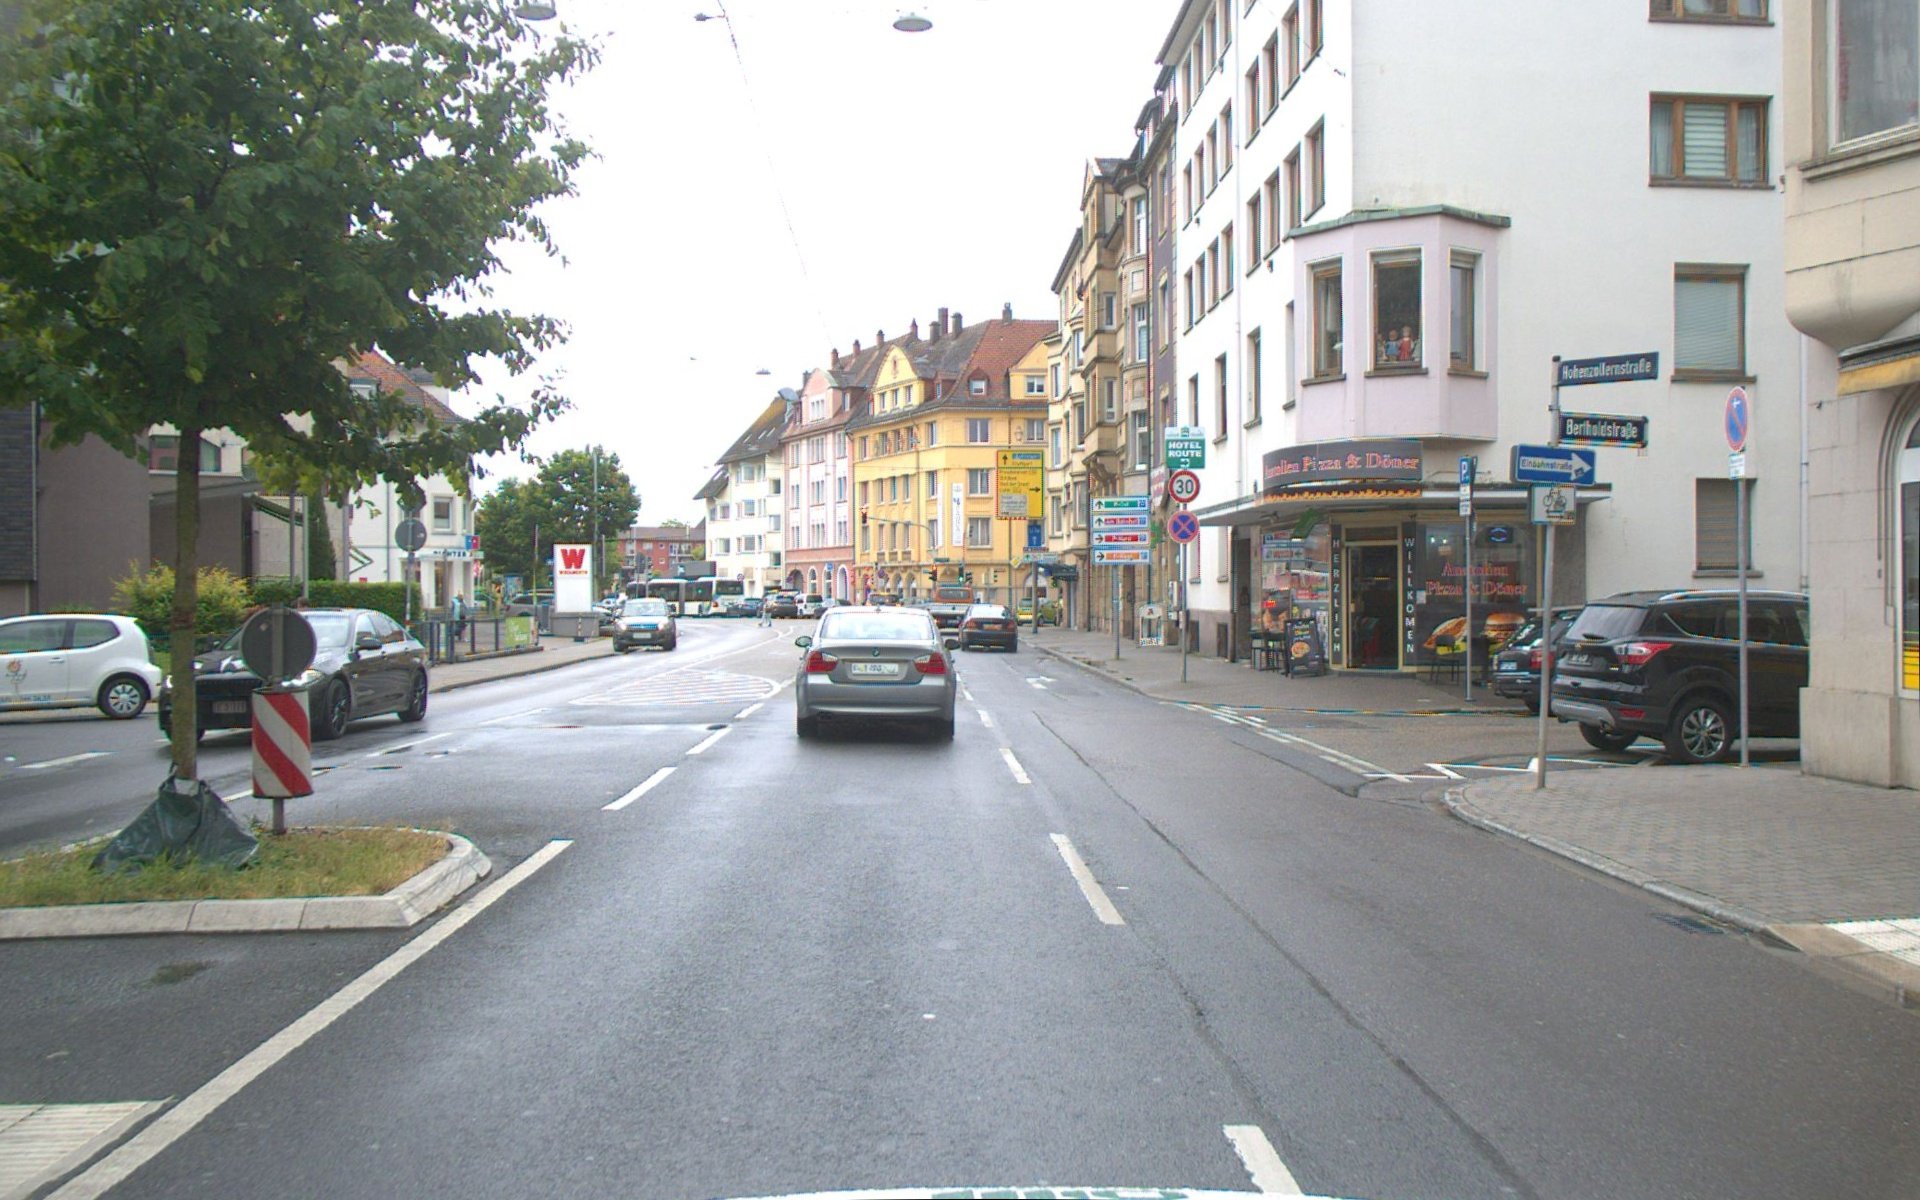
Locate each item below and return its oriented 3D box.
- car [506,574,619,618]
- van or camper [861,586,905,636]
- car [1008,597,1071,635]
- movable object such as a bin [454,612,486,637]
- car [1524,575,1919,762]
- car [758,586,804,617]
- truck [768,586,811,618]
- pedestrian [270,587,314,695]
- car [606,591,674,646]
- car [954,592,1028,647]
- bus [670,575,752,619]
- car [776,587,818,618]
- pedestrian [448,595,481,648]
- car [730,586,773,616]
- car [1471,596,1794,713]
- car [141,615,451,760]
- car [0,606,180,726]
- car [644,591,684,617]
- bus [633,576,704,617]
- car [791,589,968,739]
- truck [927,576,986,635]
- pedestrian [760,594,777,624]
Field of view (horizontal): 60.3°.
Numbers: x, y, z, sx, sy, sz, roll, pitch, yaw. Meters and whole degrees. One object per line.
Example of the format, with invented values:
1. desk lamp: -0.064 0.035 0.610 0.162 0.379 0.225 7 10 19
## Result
1. car: -16.822 -0.168 70.145 4.361 1.553 1.883 4 0 -7
2. van or camper: -3.495 0.489 74.714 1.818 2.184 4.138 1 0 -5
3. car: 4.397 0.864 90.937 1.955 2.049 3.995 1 0 27
4. movable object such as a bin: -16.340 0.825 55.138 0.741 0.802 0.728 1 0 43
5. car: 8.211 0.675 17.174 4.060 1.803 1.870 0 0 -8
6. car: -11.896 0.104 109.651 1.966 2.049 3.972 0 0 -23
7. truck: -13.361 0.136 129.241 2.002 2.431 4.200 1 0 -27
8. pedestrian: -11.179 0.675 27.698 0.563 1.793 0.580 0 0 -8
9. car: -10.301 0.575 53.039 1.916 1.688 4.041 0 0 -15
10. car: 0.901 0.593 50.135 1.765 1.590 3.994 0 -1 -6
11. bus: -18.762 -0.216 124.053 2.879 3.159 9.048 -1 0 -31
12. car: -12.160 0.174 123.311 1.741 2.218 3.965 3 -1 -27
13. pedestrian: -16.323 0.706 54.485 0.741 1.715 0.743 0 0 43
14. car: -14.566 0.092 115.278 1.967 2.049 3.971 0 0 -23
15. car: 9.805 0.788 24.267 4.030 1.636 1.802 0 -2 -8
16. car: -7.683 0.939 19.667 1.973 1.450 4.498 1 0 -2
17. car: -13.021 0.890 23.170 3.548 1.597 1.720 1 0 -35
18. car: -20.263 0.277 113.132 1.820 1.713 3.971 -1 0 -23
19. bus: -23.304 -0.296 131.794 2.877 3.159 8.785 -1 0 -29
20. car: -0.931 0.651 19.021 1.763 1.489 4.368 1 0 -3
21. truck: -0.187 0.210 67.899 2.180 2.289 5.060 1 0 -2
22. pedestrian: -9.918 0.460 85.524 0.750 1.556 0.505 2 -1 -23
